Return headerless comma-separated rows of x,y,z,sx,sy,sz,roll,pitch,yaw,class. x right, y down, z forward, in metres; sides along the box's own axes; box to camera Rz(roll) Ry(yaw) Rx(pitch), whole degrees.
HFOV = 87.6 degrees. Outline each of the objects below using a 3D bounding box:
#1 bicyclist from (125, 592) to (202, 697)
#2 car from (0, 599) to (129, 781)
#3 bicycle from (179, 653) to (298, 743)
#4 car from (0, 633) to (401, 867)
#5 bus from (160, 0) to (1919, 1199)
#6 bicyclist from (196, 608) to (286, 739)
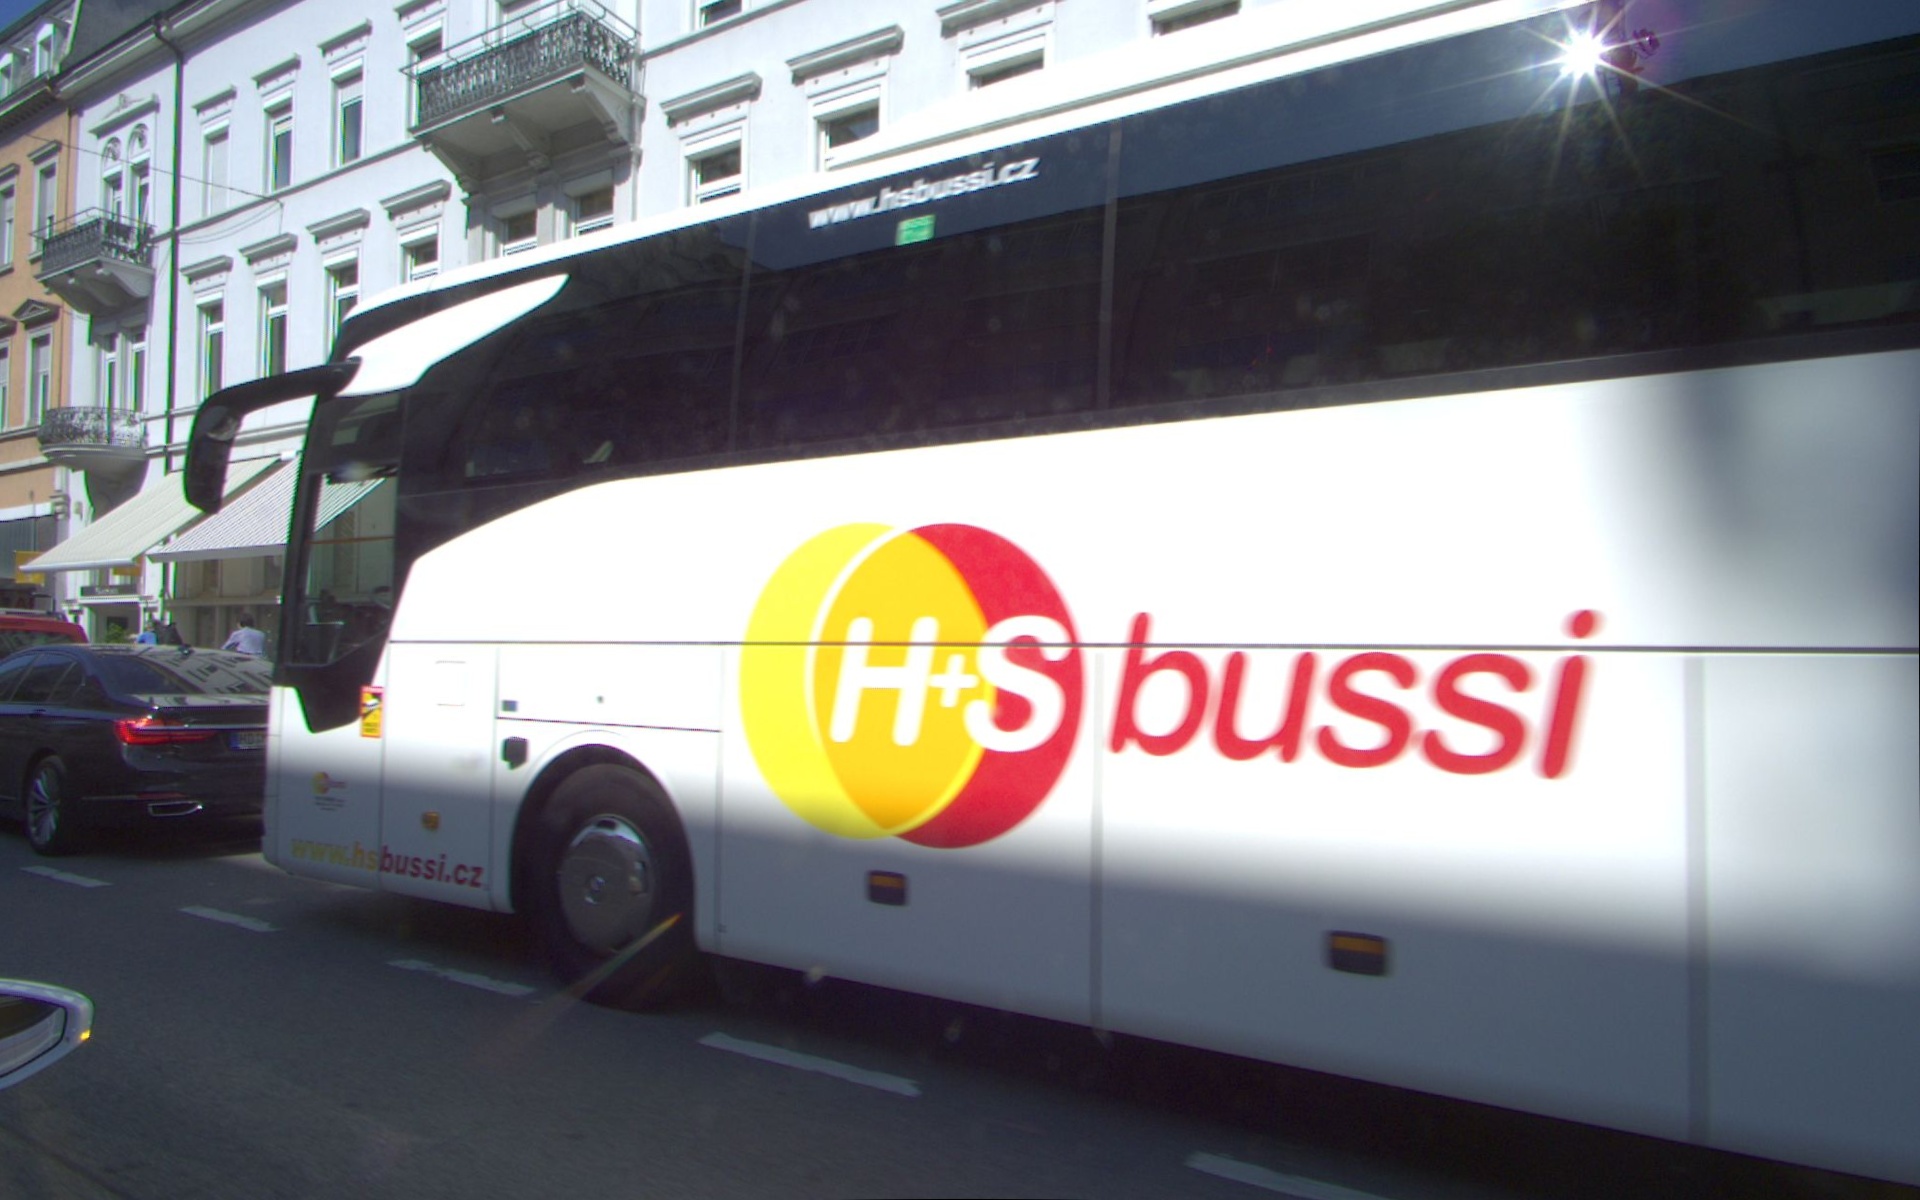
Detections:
-13.333,0.738,16.762,0.998,1.706,0.646,0,-2,30,bicyclist
-11.842,0.942,11.479,4.283,1.886,1.829,0,-4,25,car
-10.236,1.360,14.180,2.041,1.135,0.554,0,0,29,bicycle
-7.232,1.068,8.536,5.146,1.487,1.859,-1,-5,29,car
1.863,-0.165,3.873,12.231,3.786,2.883,-1,-5,28,bus
-10.265,1.028,14.307,0.998,1.791,0.646,0,-2,30,bicyclist
